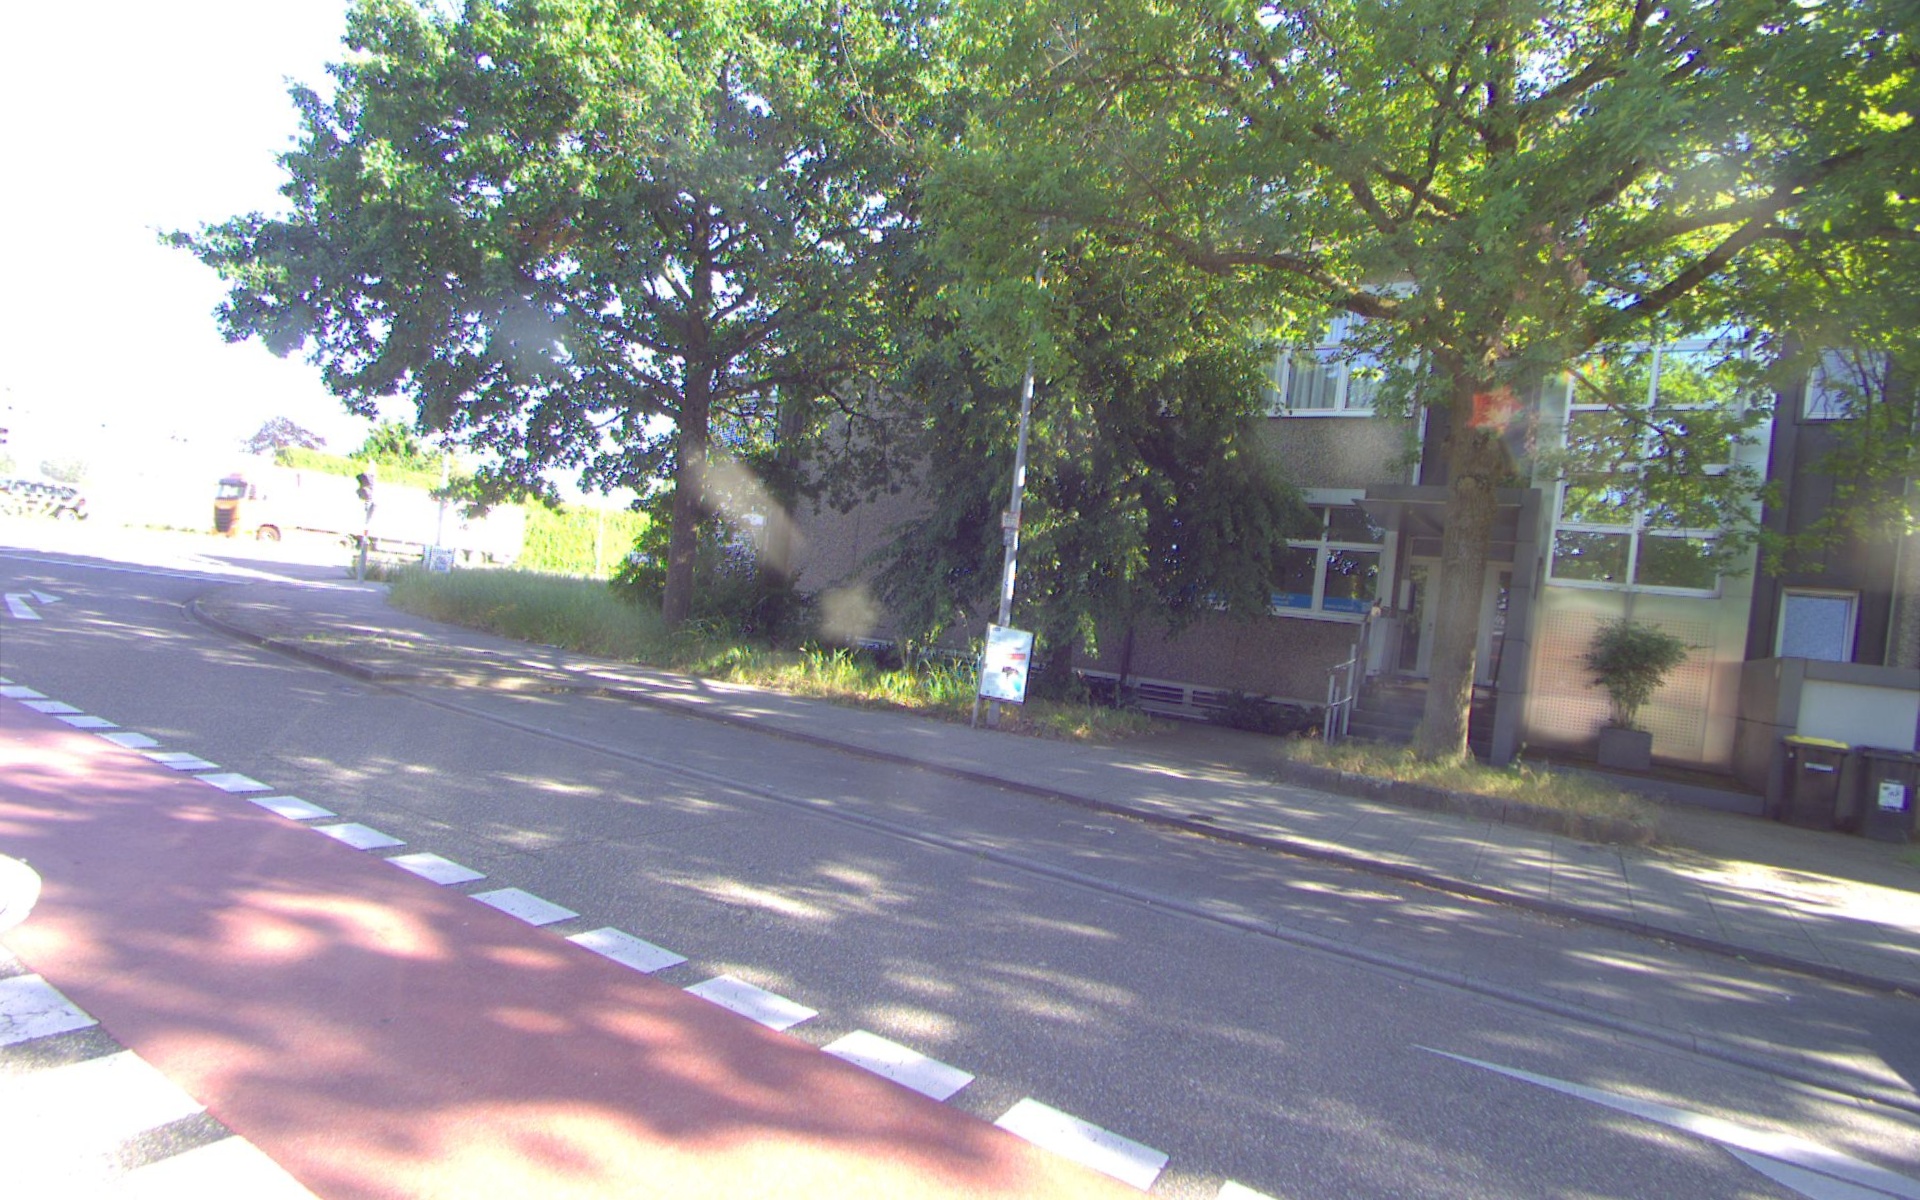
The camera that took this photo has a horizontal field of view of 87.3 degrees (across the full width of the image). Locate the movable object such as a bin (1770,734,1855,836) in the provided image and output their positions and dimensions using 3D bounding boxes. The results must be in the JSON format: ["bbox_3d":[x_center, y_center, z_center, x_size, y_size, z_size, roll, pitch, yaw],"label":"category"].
[{"bbox_3d":[10.170,2.186,12.022,0.575,1.070,0.625,7,0,30],"label":"movable object such as a bin"}]

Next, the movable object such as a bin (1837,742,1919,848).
[{"bbox_3d":[10.759,2.255,11.729,0.605,1.075,0.634,6,0,30],"label":"movable object such as a bin"}]

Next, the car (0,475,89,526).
[{"bbox_3d":[-34.319,-3.705,36.216,1.737,1.545,4.075,7,1,25],"label":"car"}]

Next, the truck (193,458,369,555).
[{"bbox_3d":[-34.600,-4.682,51.506,3.379,4.066,6.486,7,2,25],"label":"truck"}]

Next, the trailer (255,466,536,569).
[{"bbox_3d":[-31.636,-4.450,57.862,3.379,4.064,14.684,6,1,25],"label":"trailer"}]
